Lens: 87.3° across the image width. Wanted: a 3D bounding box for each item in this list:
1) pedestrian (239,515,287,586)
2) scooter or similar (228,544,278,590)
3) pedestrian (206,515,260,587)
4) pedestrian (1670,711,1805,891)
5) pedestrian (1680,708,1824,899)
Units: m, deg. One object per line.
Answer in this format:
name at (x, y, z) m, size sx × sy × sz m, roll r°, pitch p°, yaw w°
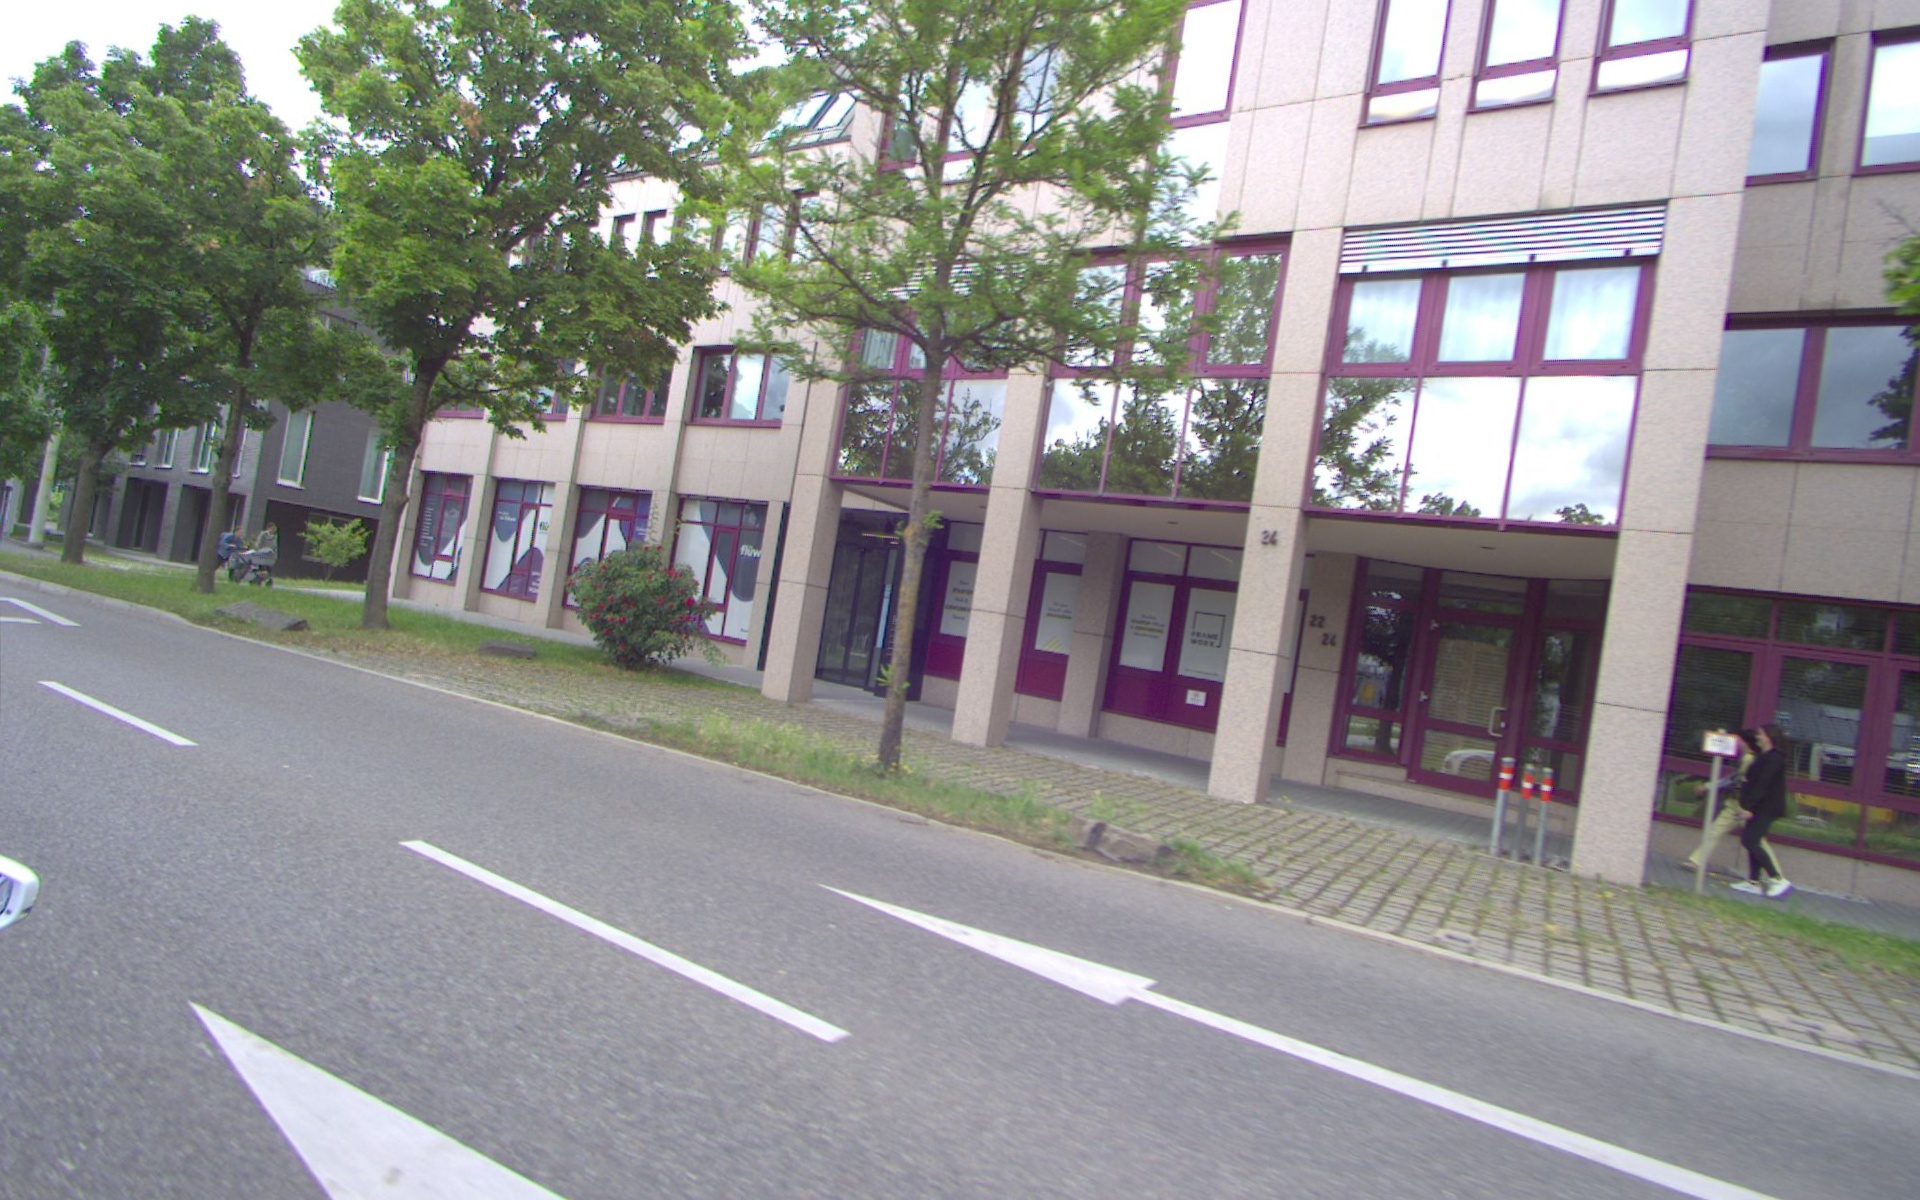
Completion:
pedestrian at (-17.948, -1.278, 25.899) m, size 0.816 × 1.719 × 0.568 m, roll 7°, pitch -2°, yaw 34°
scooter or similar at (-17.465, -0.824, 24.856) m, size 0.831 × 1.006 × 0.585 m, roll 7°, pitch 0°, yaw 26°
pedestrian at (-18.235, -1.229, 25.234) m, size 0.944 × 1.673 × 0.556 m, roll 7°, pitch 0°, yaw 26°
pedestrian at (8.429, 2.143, 10.948) m, size 0.954 × 1.724 × 0.595 m, roll 7°, pitch -1°, yaw 34°
pedestrian at (8.083, 2.045, 10.315) m, size 0.954 × 1.724 × 0.595 m, roll 7°, pitch -1°, yaw 34°
